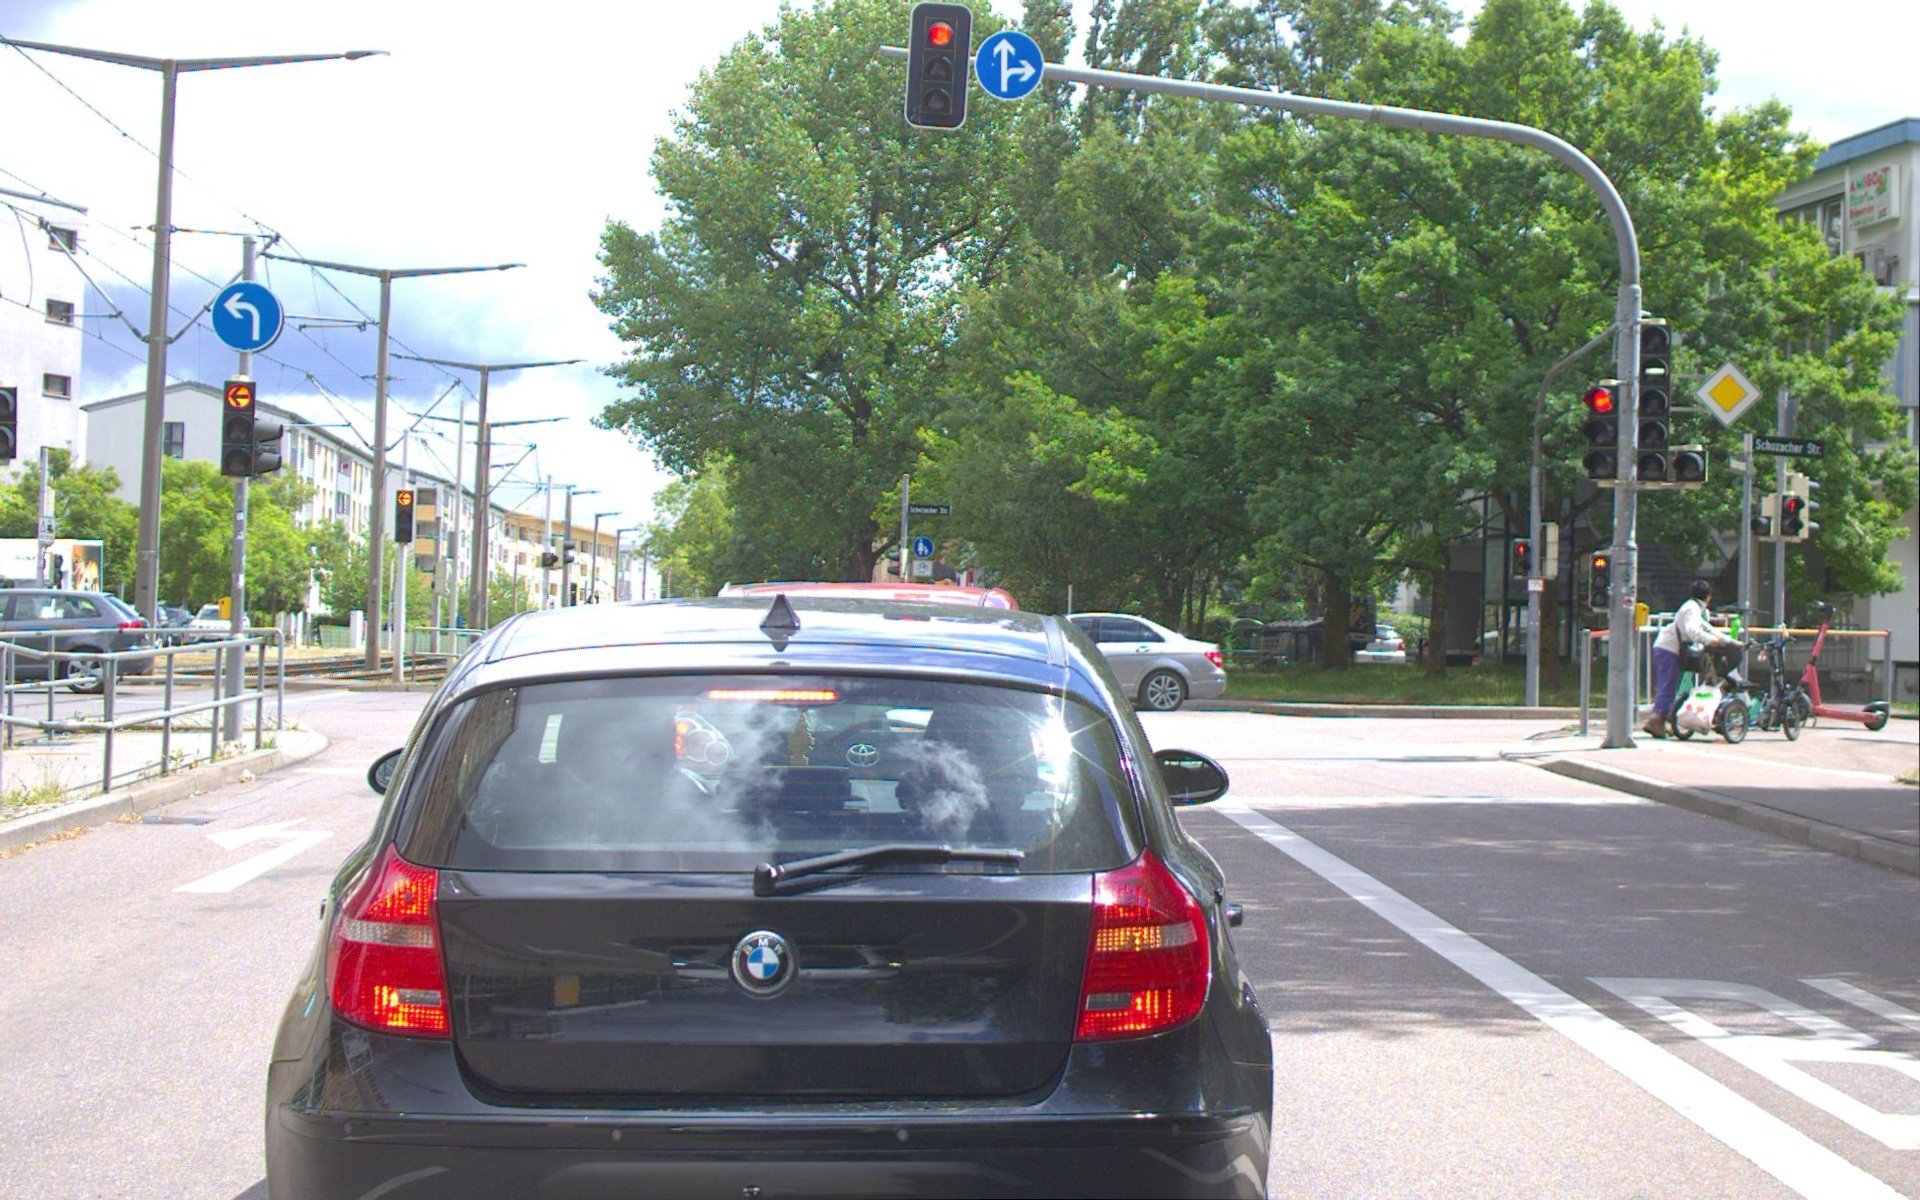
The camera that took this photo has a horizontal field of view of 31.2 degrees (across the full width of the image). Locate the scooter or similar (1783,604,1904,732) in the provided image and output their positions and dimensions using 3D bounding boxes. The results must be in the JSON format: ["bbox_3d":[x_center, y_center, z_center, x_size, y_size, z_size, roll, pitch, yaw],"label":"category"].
[{"bbox_3d":[8.731,0.672,33.979,1.106,1.253,0.332,0,0,-12],"label":"scooter or similar"}]

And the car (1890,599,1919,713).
[{"bbox_3d":[15.142,0.801,48.351,3.576,1.595,1.712,1,0,-12],"label":"car"}]

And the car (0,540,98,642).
[{"bbox_3d":[-24.700,-0.270,91.862,2.139,2.631,5.359,1,0,-2],"label":"car"}]

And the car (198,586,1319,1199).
[{"bbox_3d":[-0.268,0.699,6.859,1.654,1.414,3.517,1,1,1],"label":"car"}]

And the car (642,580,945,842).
[{"bbox_3d":[-0.982,0.606,20.761,1.654,1.414,3.517,1,1,-2],"label":"car"}]

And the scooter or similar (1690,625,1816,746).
[{"bbox_3d":[7.235,0.765,31.329,0.410,1.047,1.782,1,1,37],"label":"scooter or similar"}]

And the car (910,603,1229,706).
[{"bbox_3d":[1.548,0.776,49.379,4.322,1.389,1.713,1,0,-8],"label":"car"}]

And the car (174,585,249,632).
[{"bbox_3d":[-26.769,0.284,123.055,1.966,1.590,4.000,1,0,-3],"label":"car"}]

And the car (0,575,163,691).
[{"bbox_3d":[-13.004,0.431,46.979,3.986,1.521,1.676,1,0,-8],"label":"car"}]

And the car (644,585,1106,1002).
[{"bbox_3d":[-0.292,0.667,13.750,1.594,1.414,3.517,1,1,0],"label":"car"}]

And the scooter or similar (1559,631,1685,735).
[{"bbox_3d":[6.151,0.767,31.944,1.119,0.954,0.300,0,0,-16],"label":"scooter or similar"}]

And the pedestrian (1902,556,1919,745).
[{"bbox_3d":[9.481,0.508,32.761,0.761,1.784,0.568,5,0,25],"label":"pedestrian"}]

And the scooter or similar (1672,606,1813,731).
[{"bbox_3d":[7.530,0.655,33.093,1.287,1.185,0.385,0,0,-16],"label":"scooter or similar"}]

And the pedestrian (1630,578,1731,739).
[{"bbox_3d":[6.577,0.524,31.359,0.865,1.438,0.798,1,0,13],"label":"pedestrian"}]
